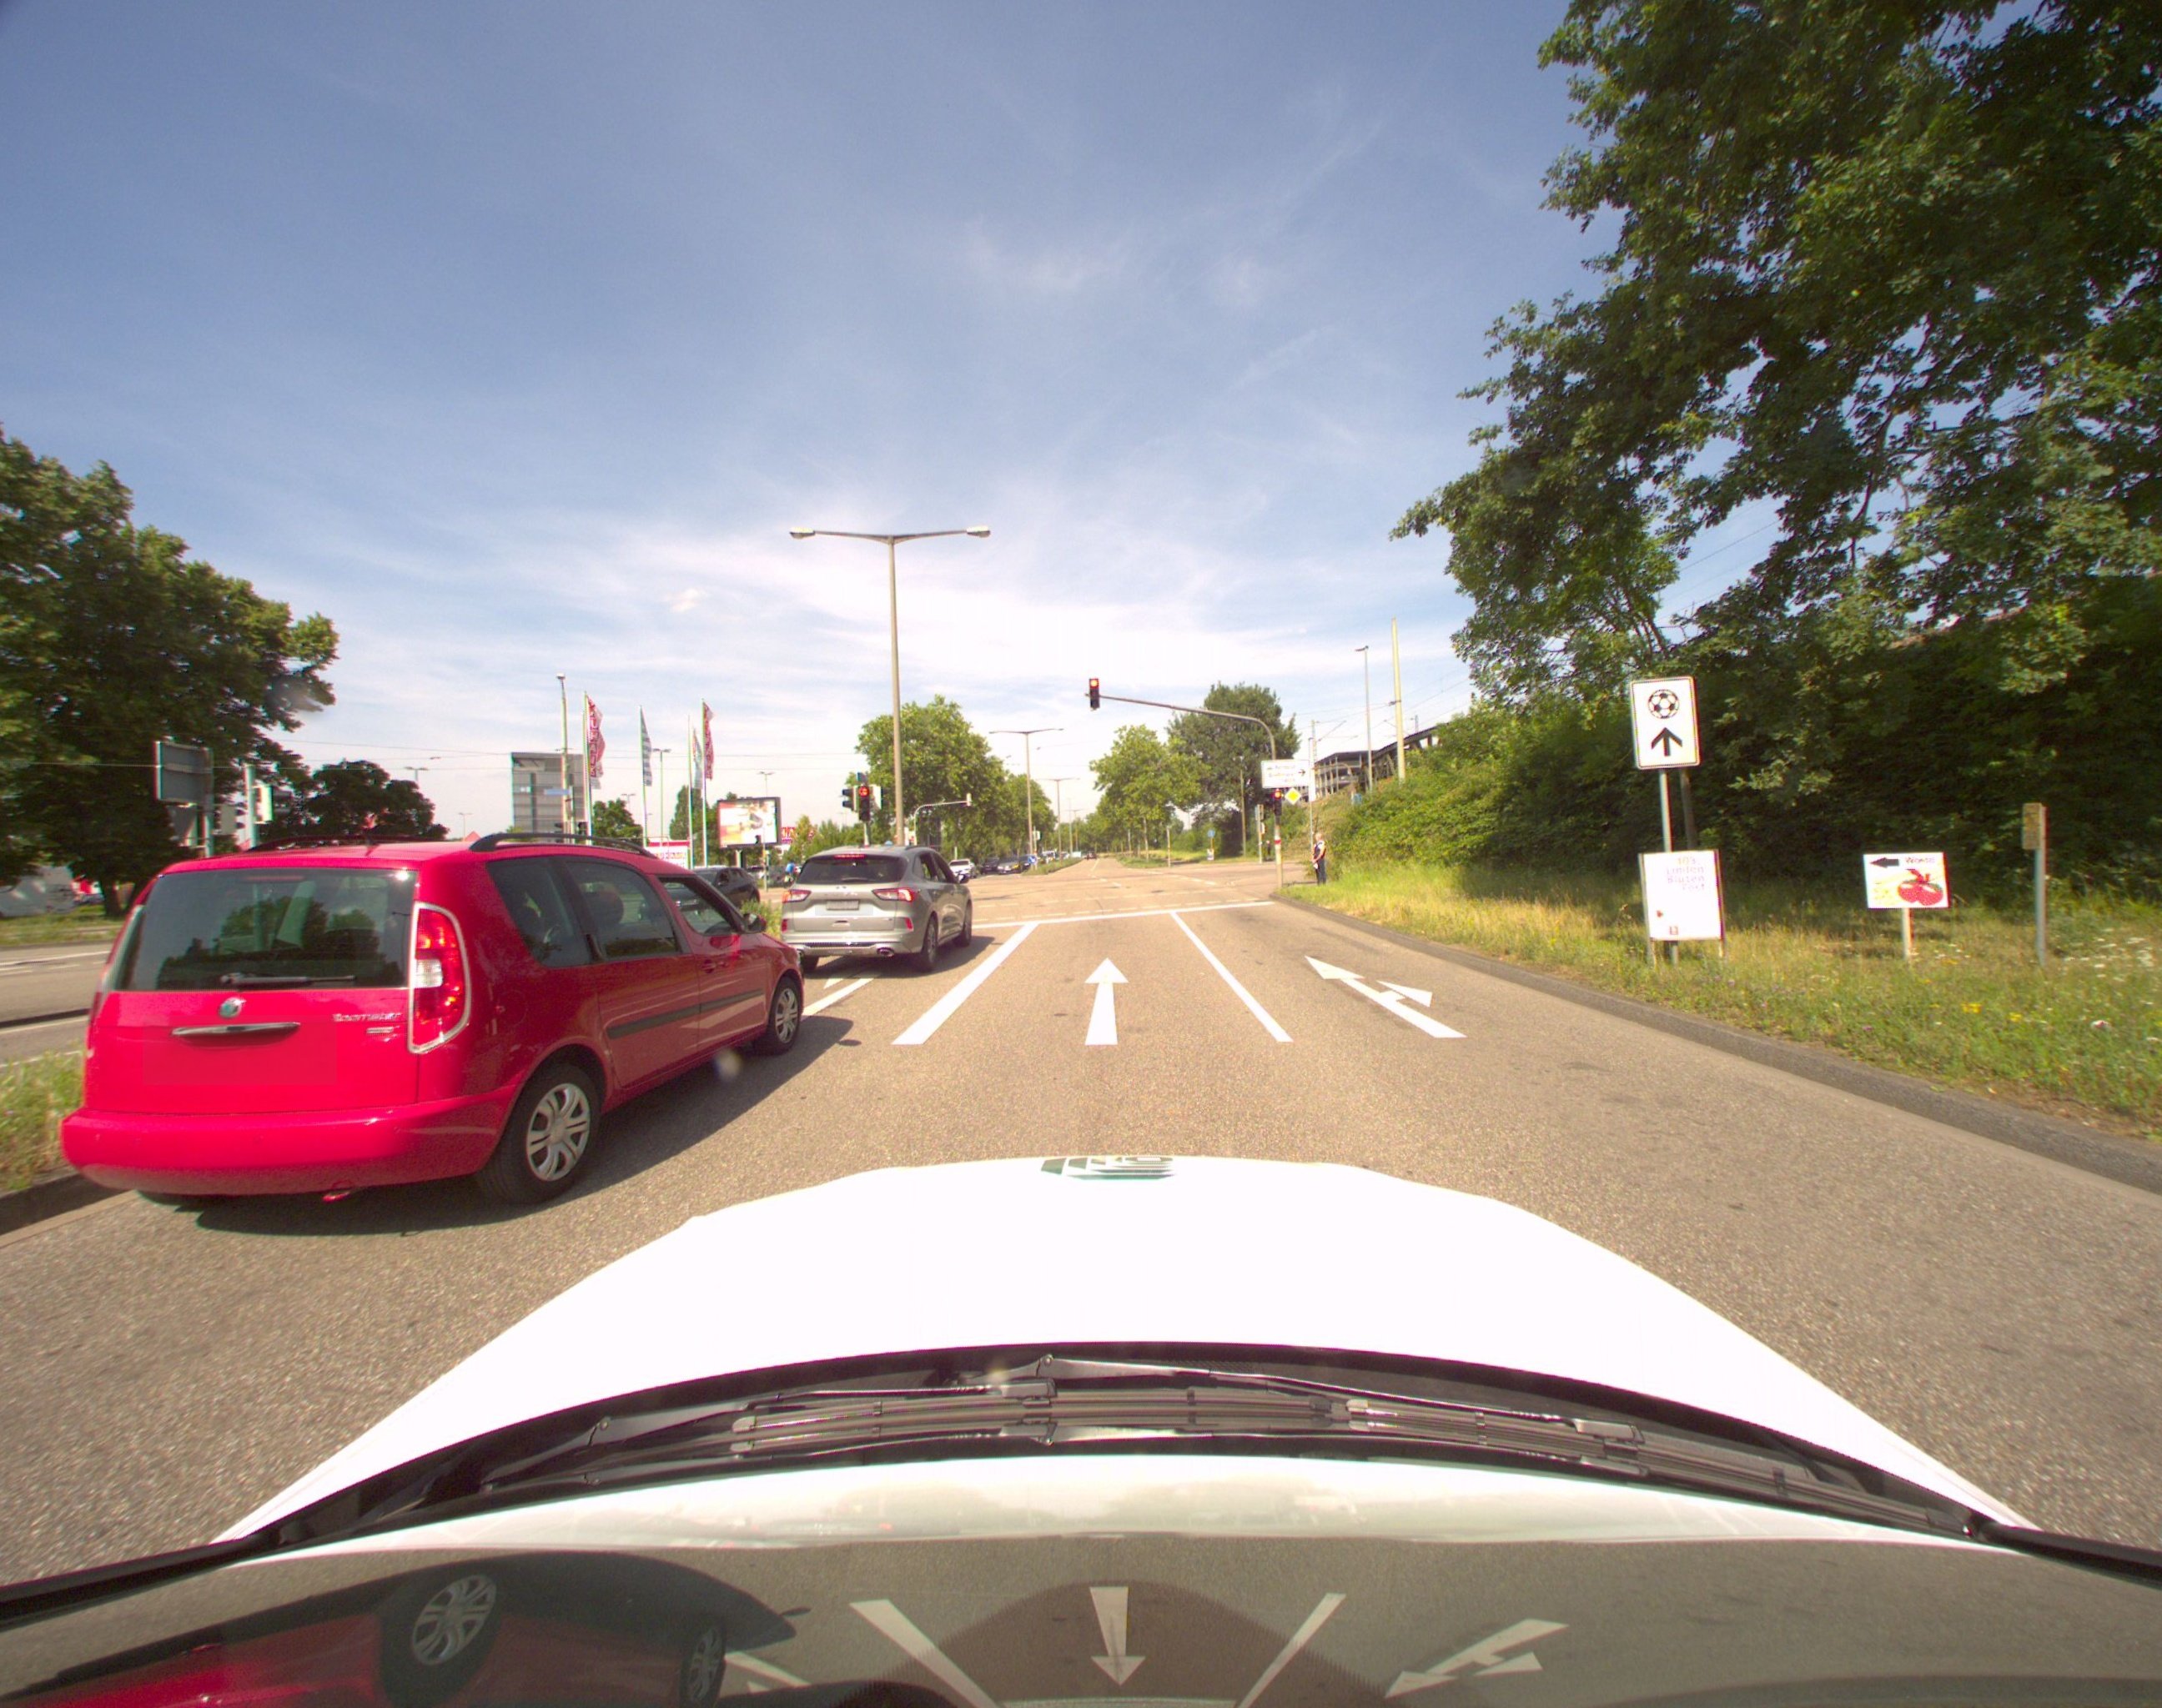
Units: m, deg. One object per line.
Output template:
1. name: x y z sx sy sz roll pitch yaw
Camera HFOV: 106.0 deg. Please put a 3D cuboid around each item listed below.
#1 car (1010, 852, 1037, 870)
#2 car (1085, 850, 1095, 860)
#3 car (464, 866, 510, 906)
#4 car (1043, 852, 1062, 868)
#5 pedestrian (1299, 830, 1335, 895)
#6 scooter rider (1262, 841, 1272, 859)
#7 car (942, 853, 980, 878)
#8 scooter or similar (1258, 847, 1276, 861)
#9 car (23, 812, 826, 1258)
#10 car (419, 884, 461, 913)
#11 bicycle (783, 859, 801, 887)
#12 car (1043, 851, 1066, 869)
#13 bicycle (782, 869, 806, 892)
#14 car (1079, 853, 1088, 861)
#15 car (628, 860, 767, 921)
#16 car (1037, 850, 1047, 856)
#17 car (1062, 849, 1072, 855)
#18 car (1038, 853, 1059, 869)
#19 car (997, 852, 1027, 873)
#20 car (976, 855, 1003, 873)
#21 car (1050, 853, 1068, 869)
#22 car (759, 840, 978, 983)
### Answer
1. car: -5.222 0.625 74.013 1.986 1.500 4.002 -2 0 2
2. car: 1.692 0.187 157.268 1.730 1.535 4.003 -2 2 2
3. car: -40.625 2.193 55.699 2.011 2.532 4.583 -3 0 -42
4. car: -3.338 0.694 96.975 1.986 1.678 4.002 -2 0 2
5. pedestrian: 7.306 0.246 25.239 0.835 1.932 0.771 -2 2 -2
6. scooter rider: 15.198 -0.308 66.599 0.672 1.428 0.493 -2 0 7
7. car: -8.543 0.789 58.228 1.986 1.512 4.002 -2 2 2
8. scooter or similar: 15.199 -0.020 66.597 1.337 1.098 0.493 -2 0 6
9. car: -3.075 0.698 4.995 1.622 1.595 3.919 -2 -1 2
10. car: -42.410 2.926 53.830 2.011 1.684 3.953 -3 0 -40
11. bicycle: -17.093 1.100 48.127 0.670 1.615 0.991 -3 0 -3
12. car: -2.654 0.605 81.548 1.986 1.695 4.001 -2 0 1
13. bicycle: -17.071 1.544 48.480 0.670 1.256 2.244 -3 0 -3
14. car: 0.566 0.615 190.303 1.859 1.694 4.411 -2 0 2
15. car: -10.289 0.913 22.183 1.734 1.390 4.002 -2 0 2
16. car: -12.384 -0.337 259.062 1.871 1.694 4.382 -2 0 -18
17. car: -4.113 -0.463 241.115 1.869 1.694 4.388 -2 0 -14
18. car: -3.587 0.750 90.422 1.896 1.596 4.002 -2 0 2
19. car: -5.628 0.662 66.596 1.911 1.513 4.002 -2 0 2
20. car: -8.518 0.910 76.101 1.986 1.513 4.002 -2 0 2
21. car: -2.752 0.880 102.655 1.986 1.895 4.377 -2 0 1
22. car: -2.757 0.671 11.653 1.874 1.618 4.214 -2 0 2
